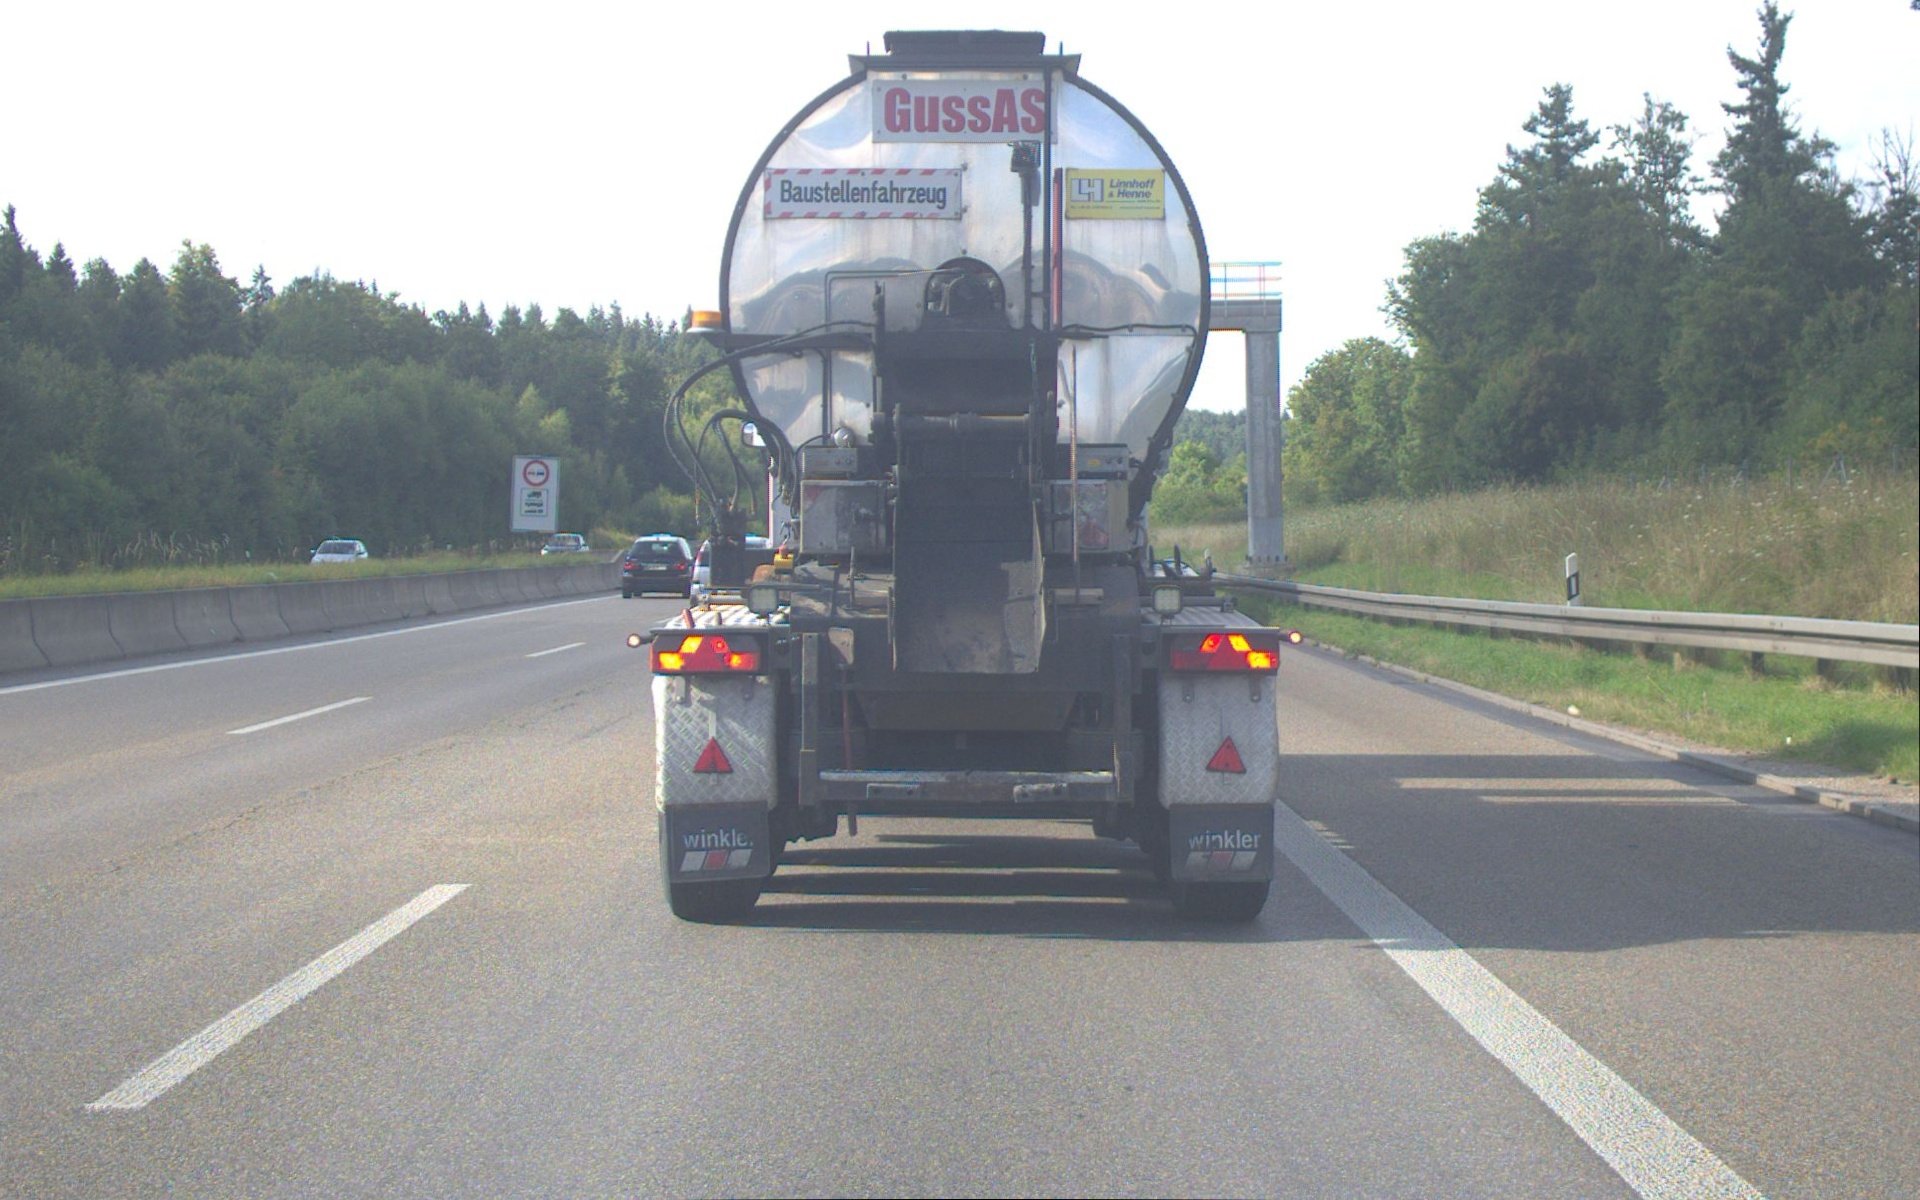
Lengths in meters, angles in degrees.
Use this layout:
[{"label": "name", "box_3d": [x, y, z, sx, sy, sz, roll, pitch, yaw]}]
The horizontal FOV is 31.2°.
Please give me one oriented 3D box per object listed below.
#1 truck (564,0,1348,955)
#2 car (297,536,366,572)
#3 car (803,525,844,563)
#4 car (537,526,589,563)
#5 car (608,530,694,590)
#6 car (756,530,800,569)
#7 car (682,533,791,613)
[{"label": "truck", "box_3d": [0.010, -0.857, 18.476, 2.912, 4.143, 11.270, 0, 1, 0]}, {"label": "car", "box_3d": [-22.641, -1.667, 124.013, 1.816, 1.286, 3.544, 0, 1, 0]}, {"label": "car", "box_3d": [-6.388, -2.633, 161.517, 1.845, 1.777, 4.000, 0, 1, -1]}, {"label": "car", "box_3d": [-18.279, -2.562, 158.313, 1.906, 1.711, 4.000, 0, 1, 0]}, {"label": "car", "box_3d": [-7.950, -1.040, 88.751, 1.835, 1.512, 4.333, 0, 1, 0]}, {"label": "car", "box_3d": [-7.384, -2.061, 139.795, 1.618, 1.539, 3.520, 0, 1, 0]}, {"label": "car", "box_3d": [-4.331, -0.546, 67.173, 1.835, 1.512, 4.333, 0, 1, 0]}]
